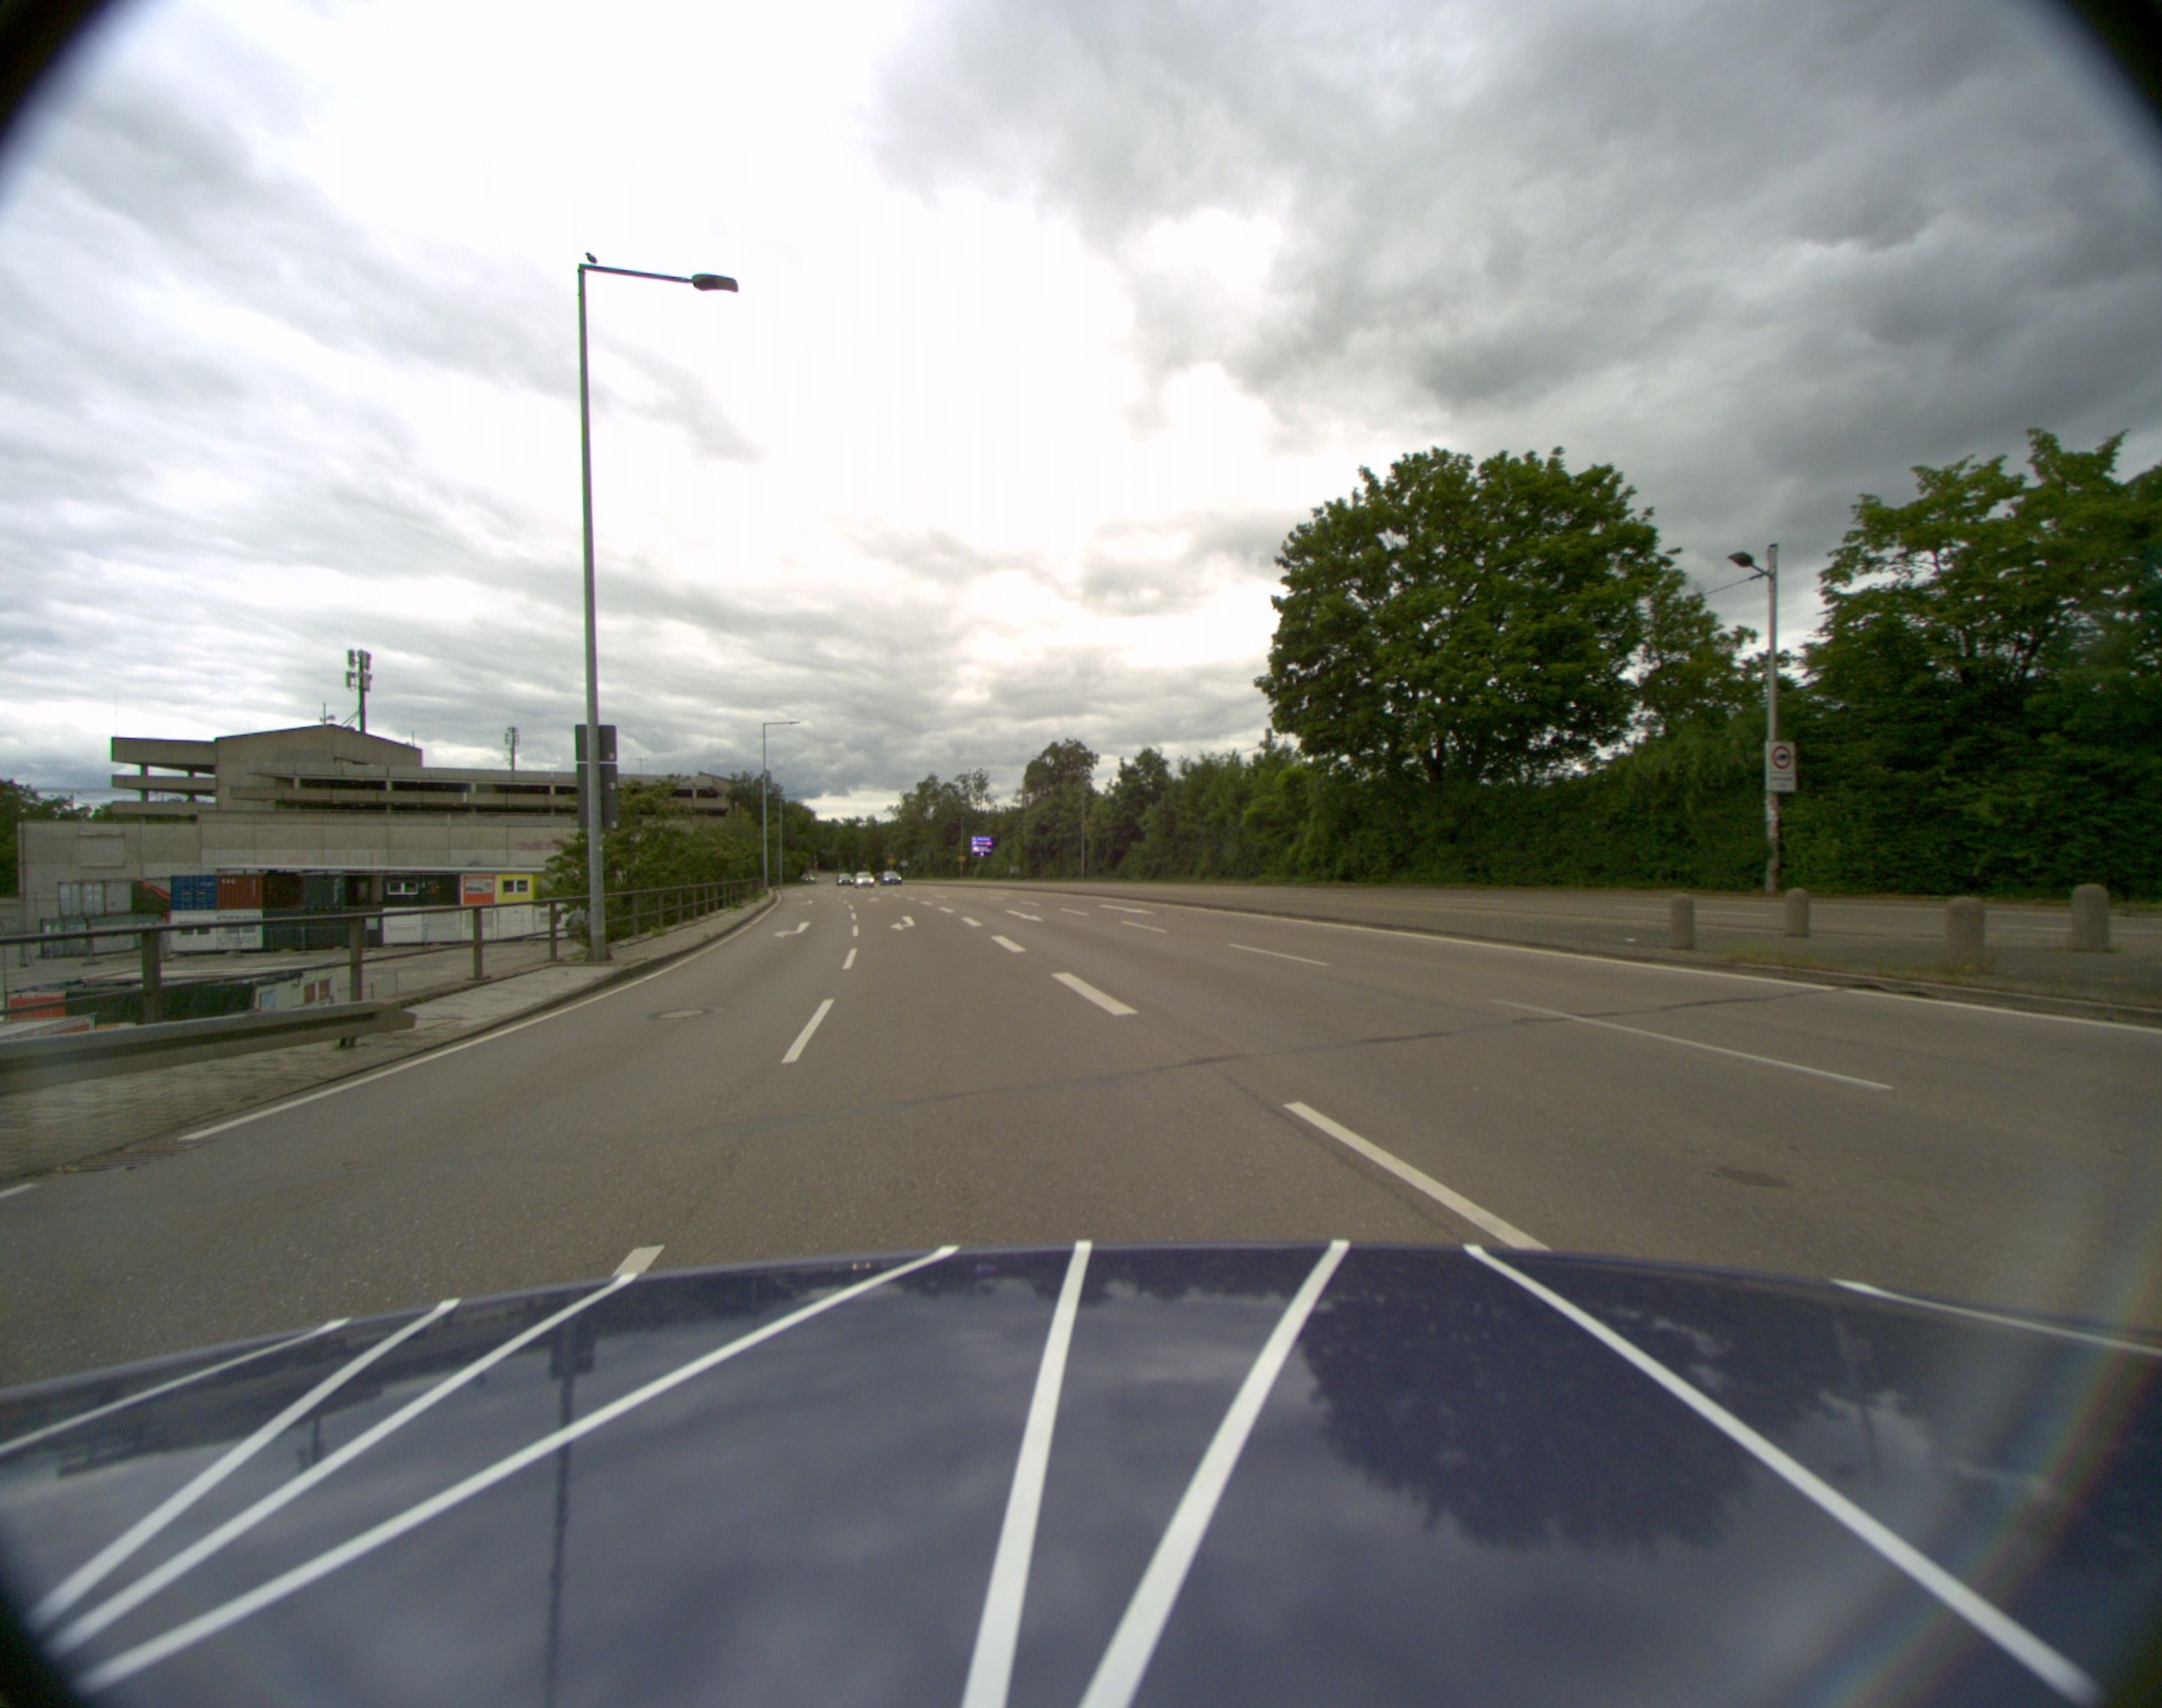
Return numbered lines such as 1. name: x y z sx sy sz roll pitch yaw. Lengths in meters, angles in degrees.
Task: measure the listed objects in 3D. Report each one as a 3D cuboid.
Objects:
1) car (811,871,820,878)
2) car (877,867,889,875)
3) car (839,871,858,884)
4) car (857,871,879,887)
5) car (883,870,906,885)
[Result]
1. car: -63.082 4.905 180.734 1.868 1.408 4.331 -2 0 -21
2. car: -38.666 3.372 148.432 1.706 1.455 3.993 -3 0 -21
3. car: -27.886 2.800 91.198 1.868 1.408 4.331 -2 0 -21
4. car: -20.176 2.349 71.914 1.612 1.408 3.585 -2 0 -21
5. car: -19.497 2.405 79.340 1.845 1.408 4.573 -2 0 -20
